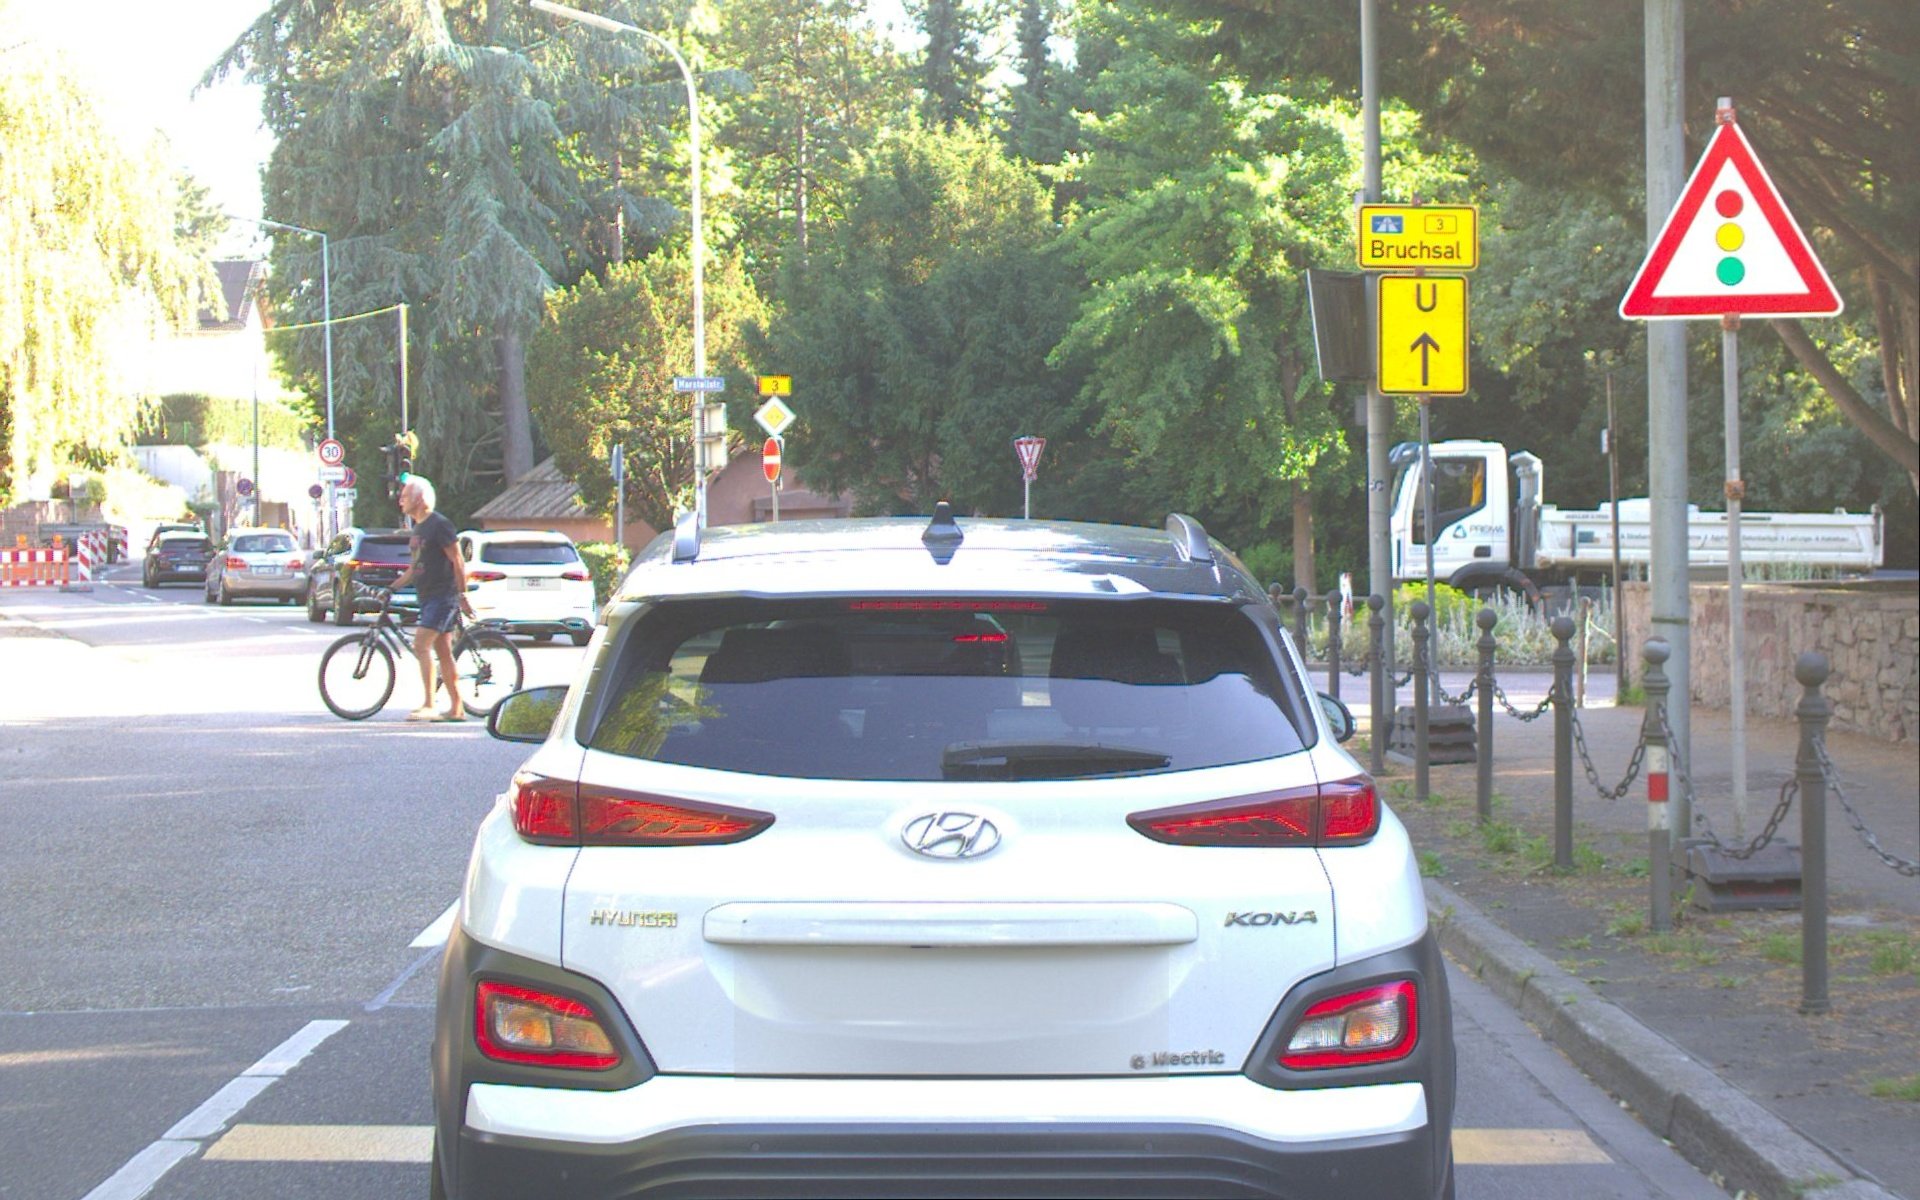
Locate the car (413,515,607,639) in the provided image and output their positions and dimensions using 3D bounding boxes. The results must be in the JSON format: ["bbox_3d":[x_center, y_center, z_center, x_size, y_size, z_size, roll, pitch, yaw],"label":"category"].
[{"bbox_3d":[-6.046,-0.339,45.842,1.805,1.532,4.001,1,1,-19],"label":"car"}]

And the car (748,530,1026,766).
[{"bbox_3d":[-0.483,0.258,23.727,1.708,1.429,4.365,1,1,-1],"label":"car"}]

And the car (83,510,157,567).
[{"bbox_3d":[-25.834,-1.895,105.690,1.831,1.656,4.001,1,1,-19],"label":"car"}]

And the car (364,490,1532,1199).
[{"bbox_3d":[-0.056,0.587,7.438,1.820,1.568,4.000,1,1,-1],"label":"car"}]

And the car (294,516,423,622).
[{"bbox_3d":[-10.036,-0.543,57.146,1.831,1.656,4.001,1,1,-13],"label":"car"}]

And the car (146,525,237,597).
[{"bbox_3d":[-19.026,-0.980,85.001,1.831,1.656,4.001,1,1,-18],"label":"car"}]

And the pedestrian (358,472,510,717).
[{"bbox_3d":[-3.999,-0.044,26.158,0.940,1.820,0.554,1,2,-39],"label":"pedestrian"}]

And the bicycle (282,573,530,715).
[{"bbox_3d":[-4.274,0.335,26.584,1.812,1.039,0.561,0,3,-37],"label":"bicycle"}]

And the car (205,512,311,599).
[{"bbox_3d":[-14.775,-0.960,72.212,1.831,1.735,4.001,1,1,-16],"label":"car"}]

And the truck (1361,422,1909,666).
[{"bbox_3d":[8.549,-0.727,44.157,6.588,2.885,2.433,2,1,5],"label":"truck"}]
